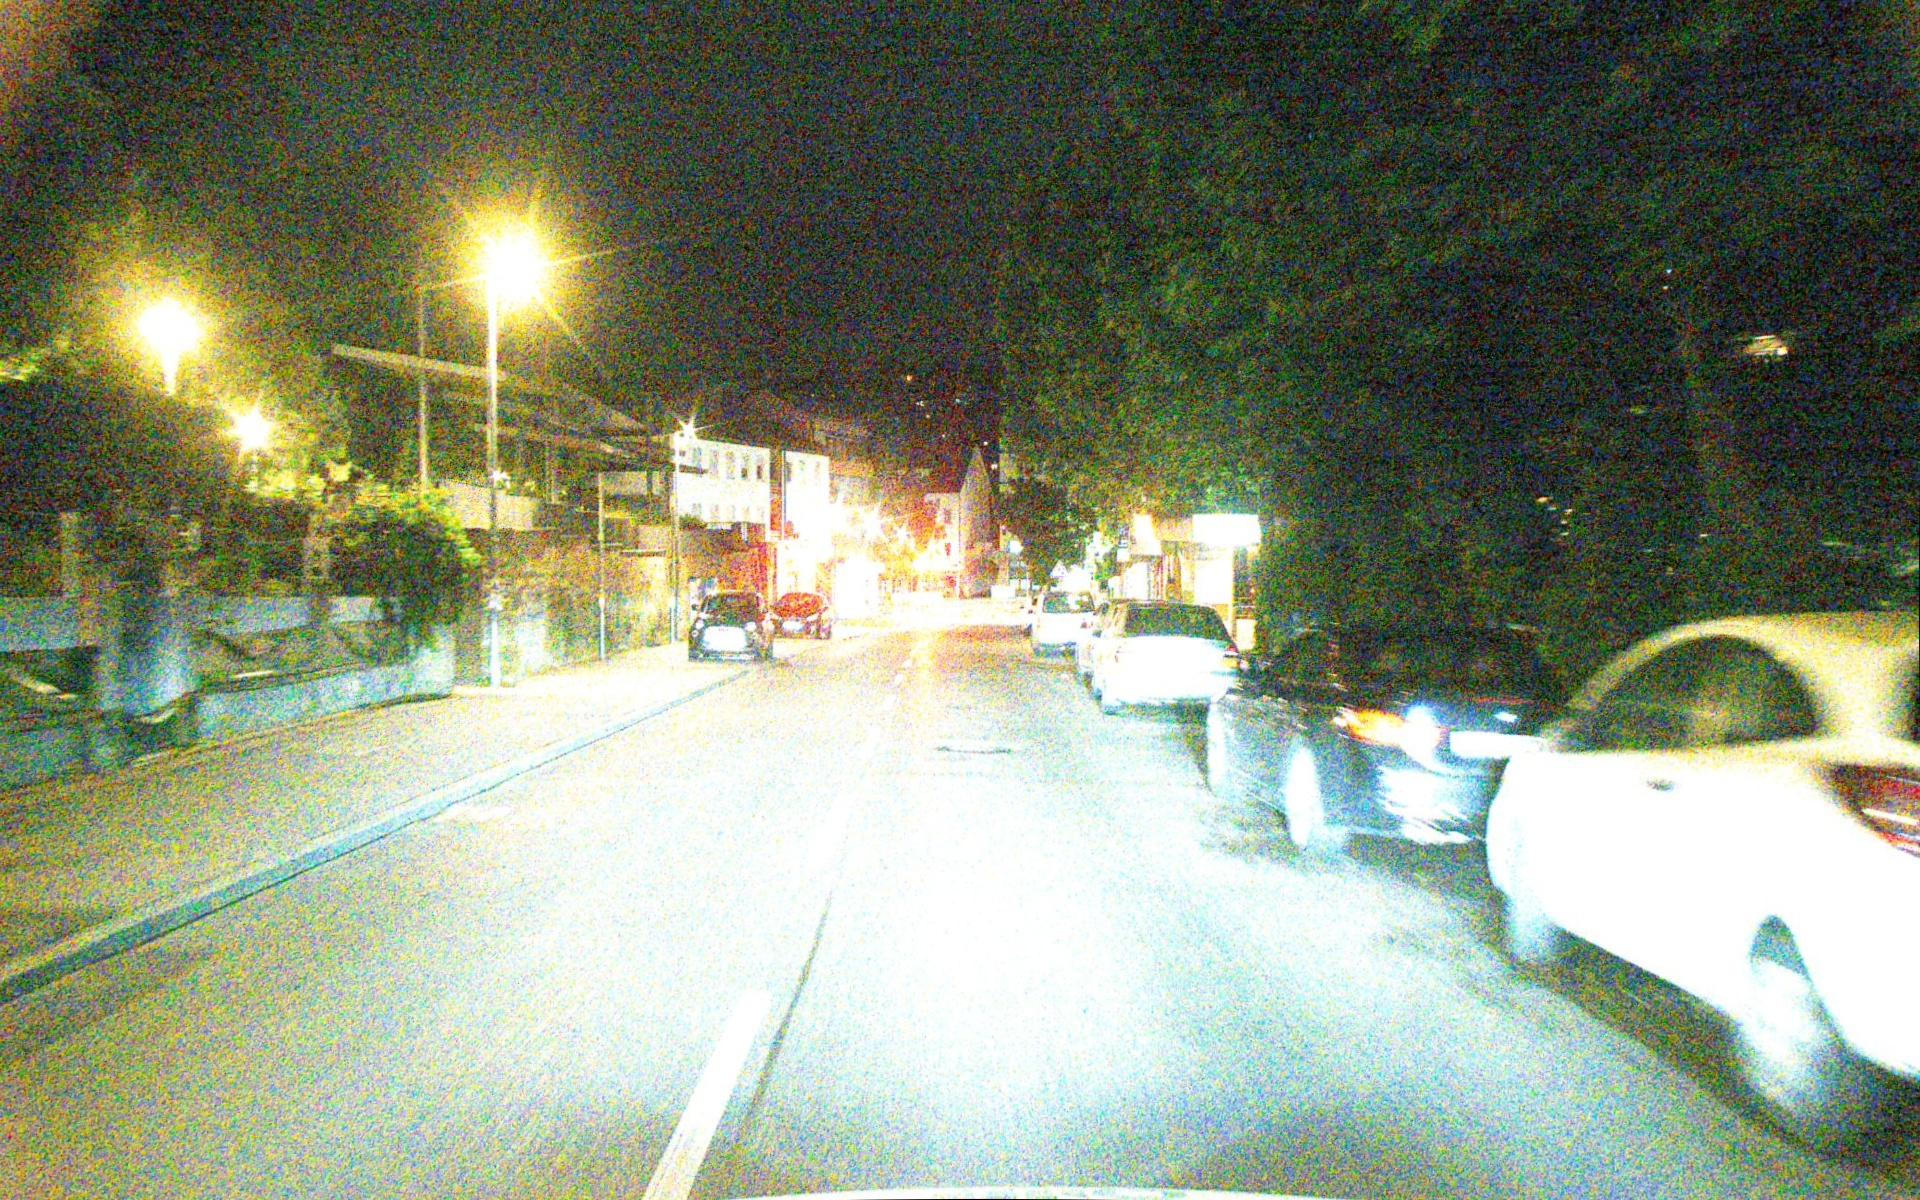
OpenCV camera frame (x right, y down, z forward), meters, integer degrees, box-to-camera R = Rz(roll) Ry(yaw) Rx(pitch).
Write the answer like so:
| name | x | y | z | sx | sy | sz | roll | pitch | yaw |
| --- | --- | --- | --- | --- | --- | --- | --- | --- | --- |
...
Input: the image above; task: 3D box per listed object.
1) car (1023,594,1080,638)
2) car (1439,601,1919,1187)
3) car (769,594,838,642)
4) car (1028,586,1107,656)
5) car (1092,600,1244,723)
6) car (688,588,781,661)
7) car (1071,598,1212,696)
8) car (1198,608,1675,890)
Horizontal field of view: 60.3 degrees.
| name | x | y | z | sx | sy | sz | roll | pitch | yaw |
| --- | --- | --- | --- | --- | --- | --- | --- | --- | --- |
| car | 3.221 | 0.546 | 58.978 | 1.819 | 1.467 | 4.595 | -2 | 0 | 1 |
| car | 3.169 | 0.776 | 6.146 | 1.605 | 1.492 | 3.775 | 2 | 0 | -1 |
| car | -5.149 | 0.569 | 54.797 | 1.656 | 1.462 | 4.129 | 2 | 0 | 3 |
| car | 2.716 | 0.517 | 42.706 | 1.750 | 1.670 | 4.380 | -2 | 0 | 1 |
| car | 2.708 | 0.745 | 22.422 | 1.642 | 1.472 | 4.613 | 0 | 0 | 2 |
| car | -5.060 | 0.567 | 37.526 | 1.657 | 1.550 | 3.690 | 1 | -1 | -1 |
| car | 2.952 | 0.726 | 27.667 | 1.744 | 1.462 | 4.288 | 1 | 0 | -2 |
| car | 2.840 | 0.798 | 10.939 | 1.726 | 1.440 | 4.438 | 1 | 0 | -2 |
